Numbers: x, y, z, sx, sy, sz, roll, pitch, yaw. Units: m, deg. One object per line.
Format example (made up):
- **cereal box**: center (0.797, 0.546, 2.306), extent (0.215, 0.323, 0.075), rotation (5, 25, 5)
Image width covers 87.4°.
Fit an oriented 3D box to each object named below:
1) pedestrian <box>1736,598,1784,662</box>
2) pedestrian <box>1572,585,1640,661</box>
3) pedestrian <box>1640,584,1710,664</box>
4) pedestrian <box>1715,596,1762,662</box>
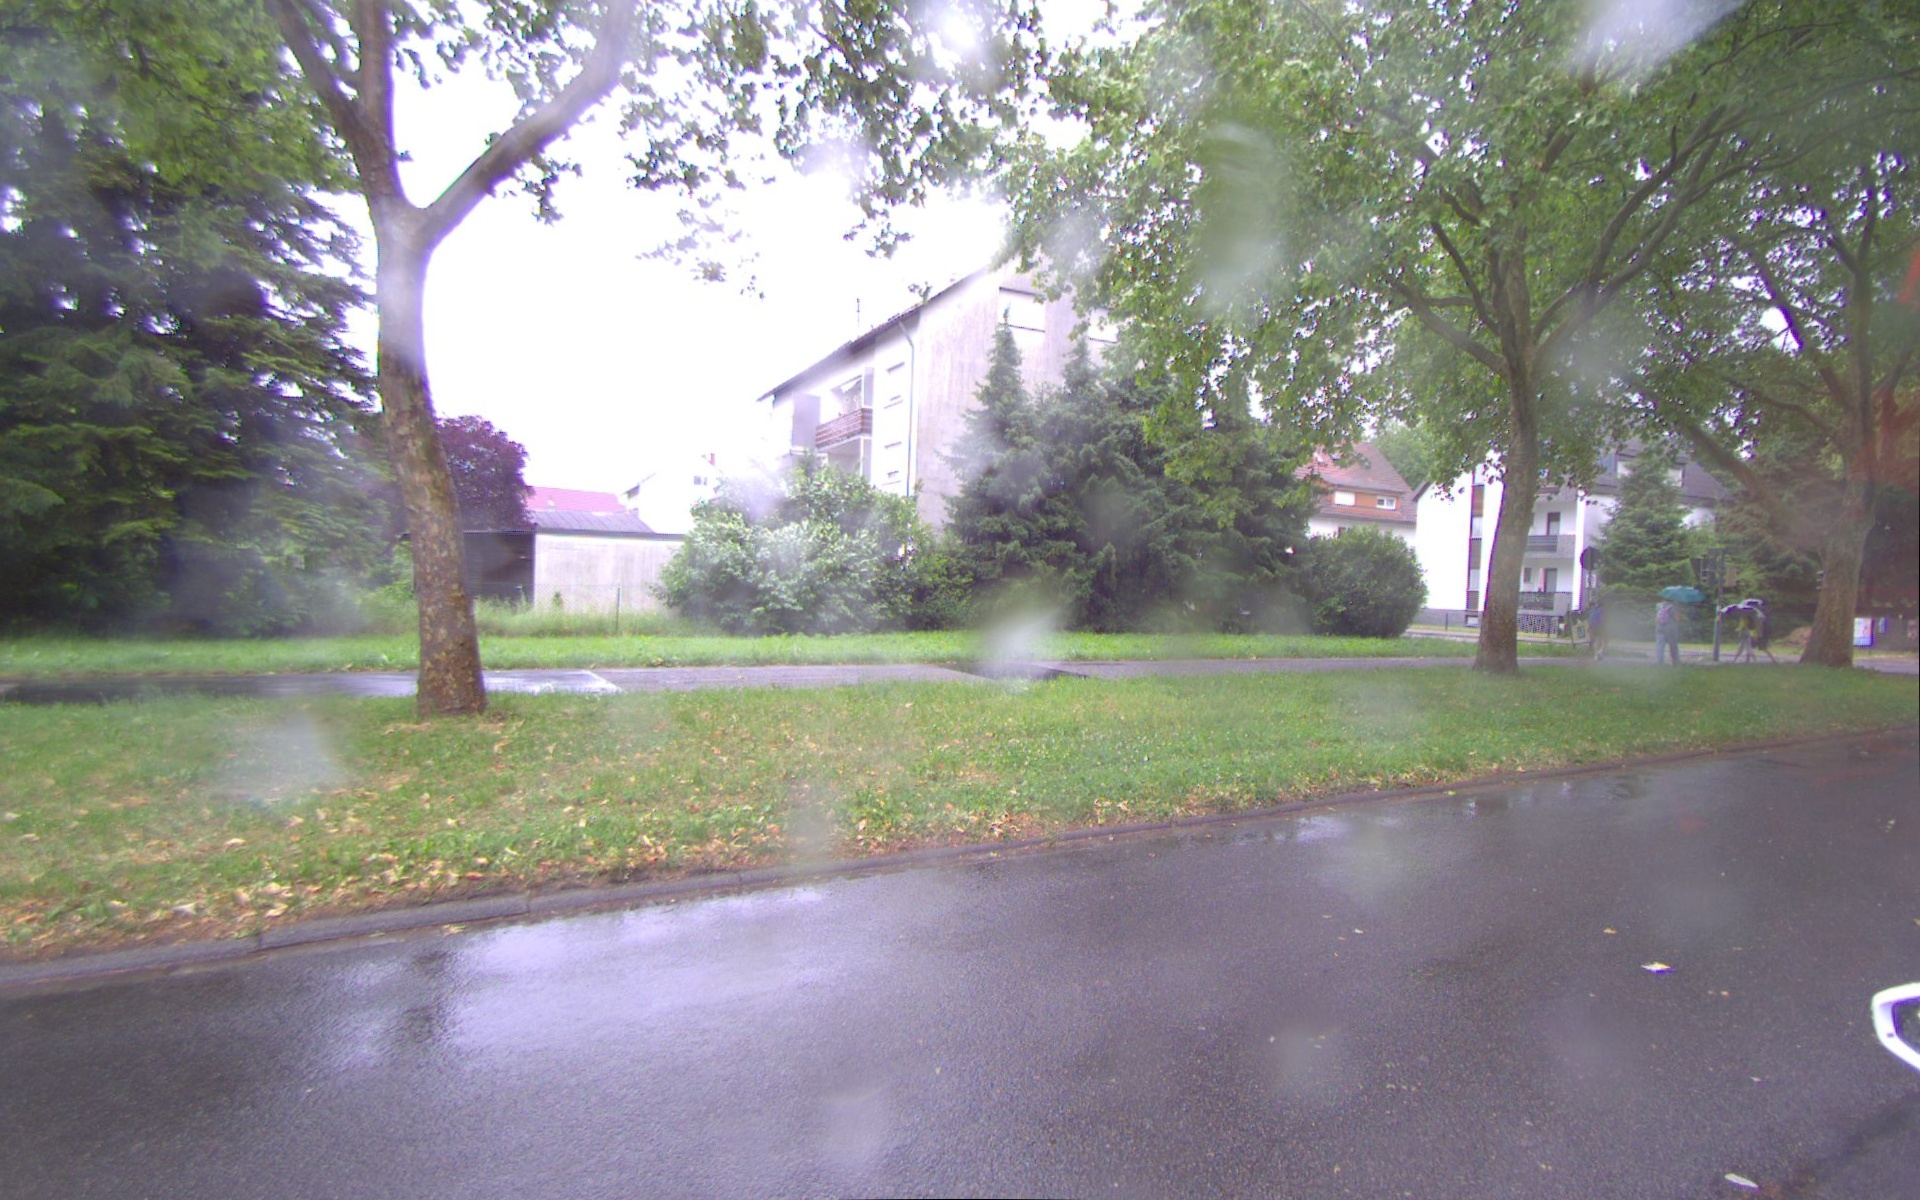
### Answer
- **pedestrian**: center (22.720, 0.844, 28.537), extent (0.633, 1.768, 0.854), rotation (1, 1, -33)
- **pedestrian**: center (15.618, 0.532, 24.299), extent (0.866, 1.789, 1.031), rotation (1, 1, -21)
- **pedestrian**: center (16.388, 0.532, 23.029), extent (0.828, 1.789, 1.028), rotation (1, 1, -30)
- **pedestrian**: center (21.544, 0.789, 27.807), extent (0.633, 1.768, 0.815), rotation (1, 1, -33)
